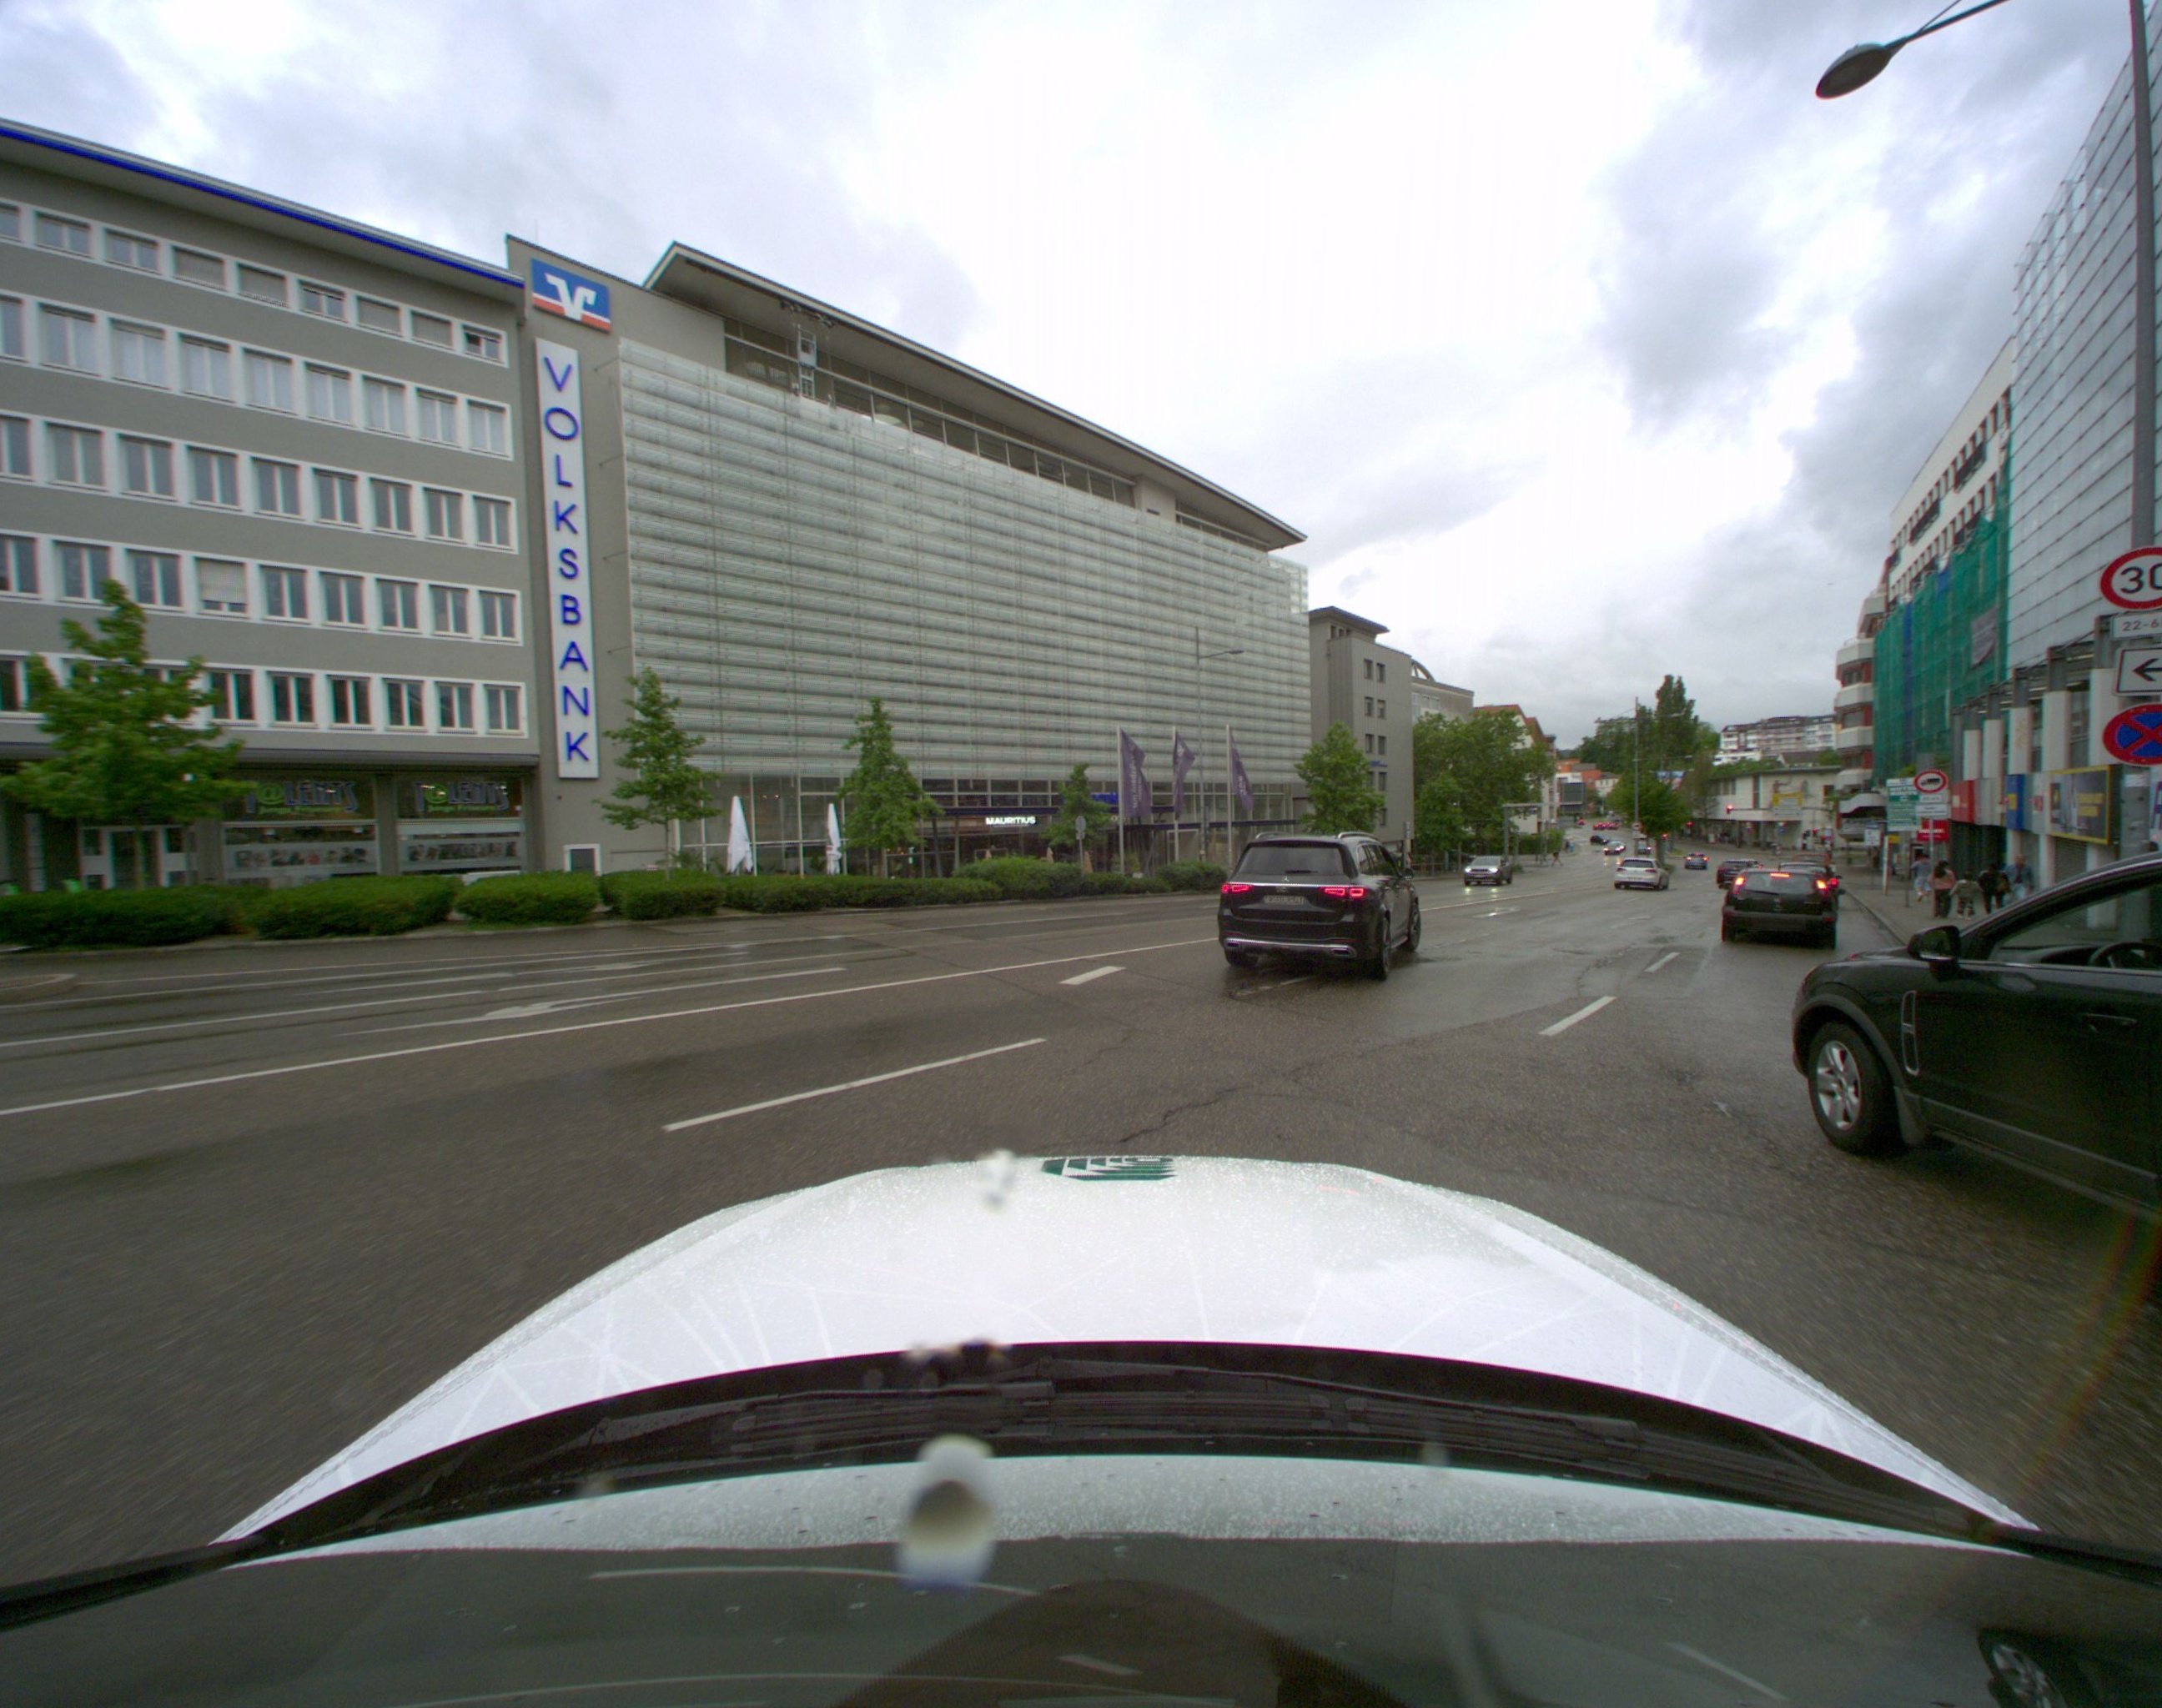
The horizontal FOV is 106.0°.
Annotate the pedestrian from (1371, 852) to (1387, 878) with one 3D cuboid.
[{"bbox_3d":[20.362,0.757,55.614,0.984,1.722,1.044,-1,0,23],"label":"pedestrian"}]

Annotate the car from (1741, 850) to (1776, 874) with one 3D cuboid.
[{"bbox_3d":[47.162,0.524,56.739,1.744,1.542,4.026,1,2,38],"label":"car"}]

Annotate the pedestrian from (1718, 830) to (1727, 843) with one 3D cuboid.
[{"bbox_3d":[97.237,-2.646,123.391,0.838,1.803,1.062,-1,-1,26],"label":"pedestrian"}]

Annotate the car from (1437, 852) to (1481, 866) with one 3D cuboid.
[{"bbox_3d":[44.636,0.555,96.161,4.548,1.482,1.954,2,1,28],"label":"car"}]

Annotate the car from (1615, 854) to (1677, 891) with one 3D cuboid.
[{"bbox_3d":[26.242,0.811,37.775,1.931,1.574,4.025,1,1,40],"label":"car"}]

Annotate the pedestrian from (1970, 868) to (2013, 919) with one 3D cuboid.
[{"bbox_3d":[22.482,0.959,20.110,0.557,1.207,0.684,0,0,-41],"label":"pedestrian"}]

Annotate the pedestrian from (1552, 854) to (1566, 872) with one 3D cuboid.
[{"bbox_3d":[50.518,0.961,86.011,0.843,1.882,1.053,0,0,-43],"label":"pedestrian"}]

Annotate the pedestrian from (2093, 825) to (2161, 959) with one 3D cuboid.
[{"bbox_3d":[15.069,0.510,11.597,0.593,1.840,1.019,-1,0,38],"label":"pedestrian"}]

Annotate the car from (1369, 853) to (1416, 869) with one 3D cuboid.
[{"bbox_3d":[38.053,0.785,99.438,5.024,1.759,2.012,2,1,29],"label":"car"}]

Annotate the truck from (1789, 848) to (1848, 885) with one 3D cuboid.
[{"bbox_3d":[44.427,0.672,49.156,2.163,2.082,5.639,1,1,37],"label":"truck"}]

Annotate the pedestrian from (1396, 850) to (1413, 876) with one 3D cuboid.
[{"bbox_3d":[21.965,0.592,55.249,0.807,1.713,1.321,-1,0,34],"label":"pedestrian"}]

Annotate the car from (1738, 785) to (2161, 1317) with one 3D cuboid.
[{"bbox_3d":[4.614,0.649,2.850,1.894,1.785,4.317,0,1,12],"label":"car"}]

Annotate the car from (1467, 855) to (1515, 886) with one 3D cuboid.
[{"bbox_3d":[21.714,0.858,43.078,1.823,1.552,4.120,-2,-1,33],"label":"car"}]

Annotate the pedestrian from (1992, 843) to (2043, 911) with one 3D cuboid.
[{"bbox_3d":[24.172,0.585,21.032,0.621,1.722,0.828,0,0,-41],"label":"pedestrian"}]

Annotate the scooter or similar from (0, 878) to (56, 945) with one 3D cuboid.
[{"bbox_3d":[-20.226,1.091,15.089,1.389,1.187,0.538,-3,1,-32],"label":"scooter or similar"}]

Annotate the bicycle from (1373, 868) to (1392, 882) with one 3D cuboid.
[{"bbox_3d":[26.046,1.816,70.277,0.606,1.086,2.687,1,0,40],"label":"bicycle"}]

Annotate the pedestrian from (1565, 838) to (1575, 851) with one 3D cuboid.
[{"bbox_3d":[67.450,-1.359,112.346,0.900,1.803,0.627,-1,-1,0],"label":"pedestrian"}]

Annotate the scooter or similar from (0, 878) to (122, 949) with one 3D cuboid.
[{"bbox_3d":[-20.927,1.188,16.603,1.507,1.256,0.922,-1,6,-32],"label":"scooter or similar"}]

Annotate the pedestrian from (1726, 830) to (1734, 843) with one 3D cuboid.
[{"bbox_3d":[98.492,-2.644,123.549,0.696,1.803,0.944,-1,-1,26],"label":"pedestrian"}]

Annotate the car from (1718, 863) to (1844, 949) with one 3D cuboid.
[{"bbox_3d":[13.743,0.921,15.917,1.701,1.420,3.792,1,0,43],"label":"car"}]

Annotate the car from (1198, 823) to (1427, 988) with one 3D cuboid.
[{"bbox_3d":[3.532,0.543,11.628,2.068,1.817,4.822,1,1,29],"label":"car"}]

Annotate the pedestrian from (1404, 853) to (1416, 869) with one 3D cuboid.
[{"bbox_3d":[35.336,0.718,87.462,0.956,1.722,0.751,-1,0,-37],"label":"pedestrian"}]

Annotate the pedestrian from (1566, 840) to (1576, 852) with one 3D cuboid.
[{"bbox_3d":[66.689,-1.042,110.845,0.920,1.608,0.563,-1,-1,0],"label":"pedestrian"}]

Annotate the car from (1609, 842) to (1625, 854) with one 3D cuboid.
[{"bbox_3d":[68.924,-0.804,104.805,1.690,1.451,3.886,1,1,33],"label":"car"}]

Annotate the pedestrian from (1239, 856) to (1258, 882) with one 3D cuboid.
[{"bbox_3d":[9.493,0.844,46.065,0.849,1.456,0.646,-1,0,-42],"label":"pedestrian"}]

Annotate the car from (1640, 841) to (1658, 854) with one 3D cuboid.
[{"bbox_3d":[72.093,-0.820,103.362,1.802,1.549,4.026,1,1,36],"label":"car"}]

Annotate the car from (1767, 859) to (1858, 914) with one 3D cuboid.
[{"bbox_3d":[23.936,1.002,26.775,1.931,1.574,4.025,1,1,38],"label":"car"}]

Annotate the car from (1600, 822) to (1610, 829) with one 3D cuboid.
[{"bbox_3d":[119.341,-6.444,185.460,1.732,1.554,3.591,1,1,30],"label":"car"}]

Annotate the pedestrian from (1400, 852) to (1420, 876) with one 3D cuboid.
[{"bbox_3d":[23.968,0.732,59.306,1.096,1.722,0.965,-1,0,-42],"label":"pedestrian"}]

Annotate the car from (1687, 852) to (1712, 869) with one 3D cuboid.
[{"bbox_3d":[57.481,0.548,75.711,1.777,1.468,4.026,1,1,38],"label":"car"}]

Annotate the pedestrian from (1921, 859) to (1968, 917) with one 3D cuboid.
[{"bbox_3d":[21.941,0.865,20.701,0.600,1.438,0.739,0,-2,-41],"label":"pedestrian"}]

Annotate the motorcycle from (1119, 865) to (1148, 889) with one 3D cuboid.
[{"bbox_3d":[2.997,1.311,46.379,0.773,1.295,1.533,0,0,-42],"label":"motorcycle"}]

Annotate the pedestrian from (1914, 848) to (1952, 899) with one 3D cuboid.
[{"bbox_3d":[29.293,0.665,27.997,0.833,1.722,0.828,-1,0,-41],"label":"pedestrian"}]

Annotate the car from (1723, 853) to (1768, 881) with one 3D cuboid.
[{"bbox_3d":[39.067,0.741,47.950,1.794,1.440,4.026,2,3,36],"label":"car"}]
